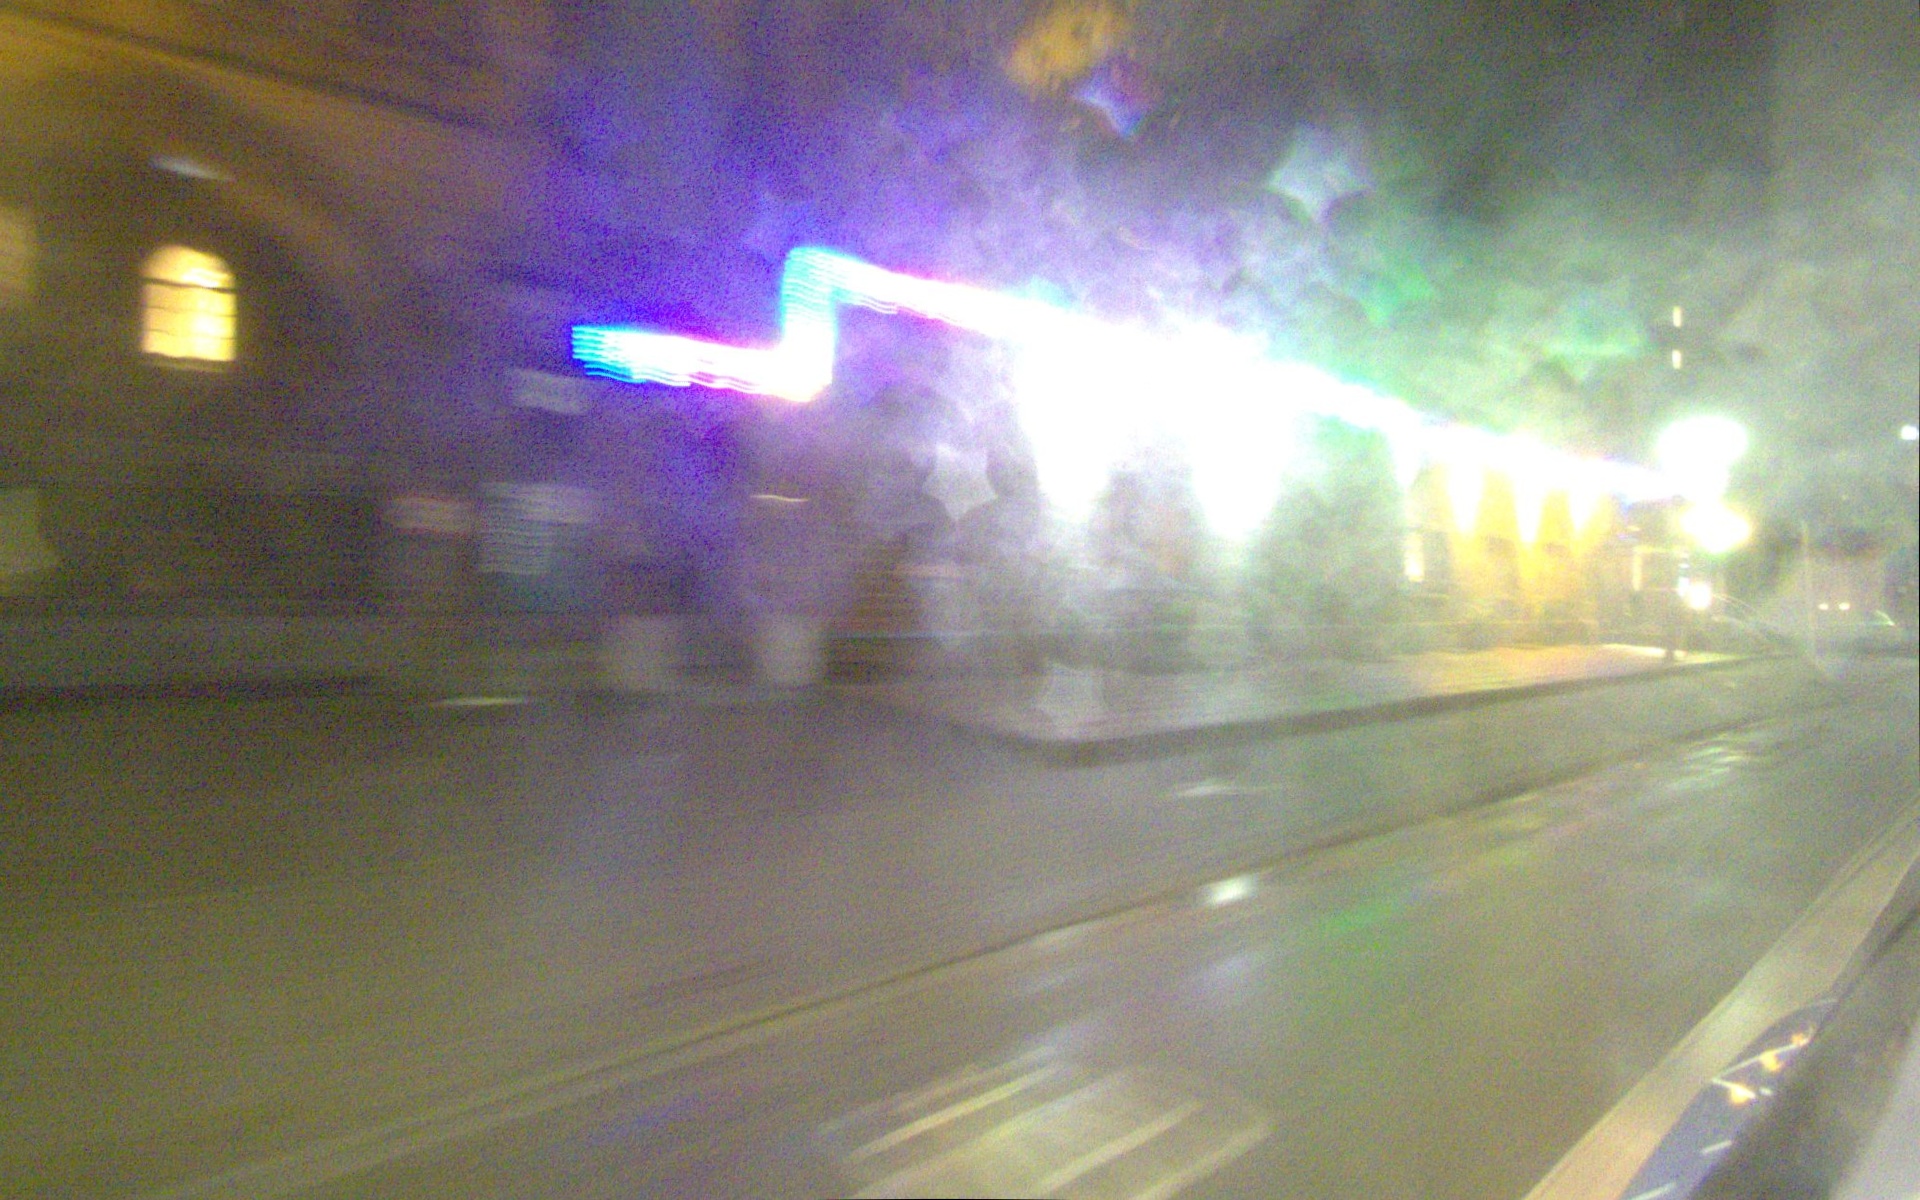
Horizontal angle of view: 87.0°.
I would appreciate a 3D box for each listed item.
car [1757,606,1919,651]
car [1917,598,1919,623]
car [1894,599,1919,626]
[{"bbox_3d":[31.872,1.010,36.857,4.062,1.557,1.944,0,0,25],"label":"car"},{"bbox_3d":[59.973,0.705,59.833,4.562,1.494,1.820,2,1,31],"label":"car"},{"bbox_3d":[57.031,0.767,58.831,3.677,1.537,1.640,2,1,32],"label":"car"}]
